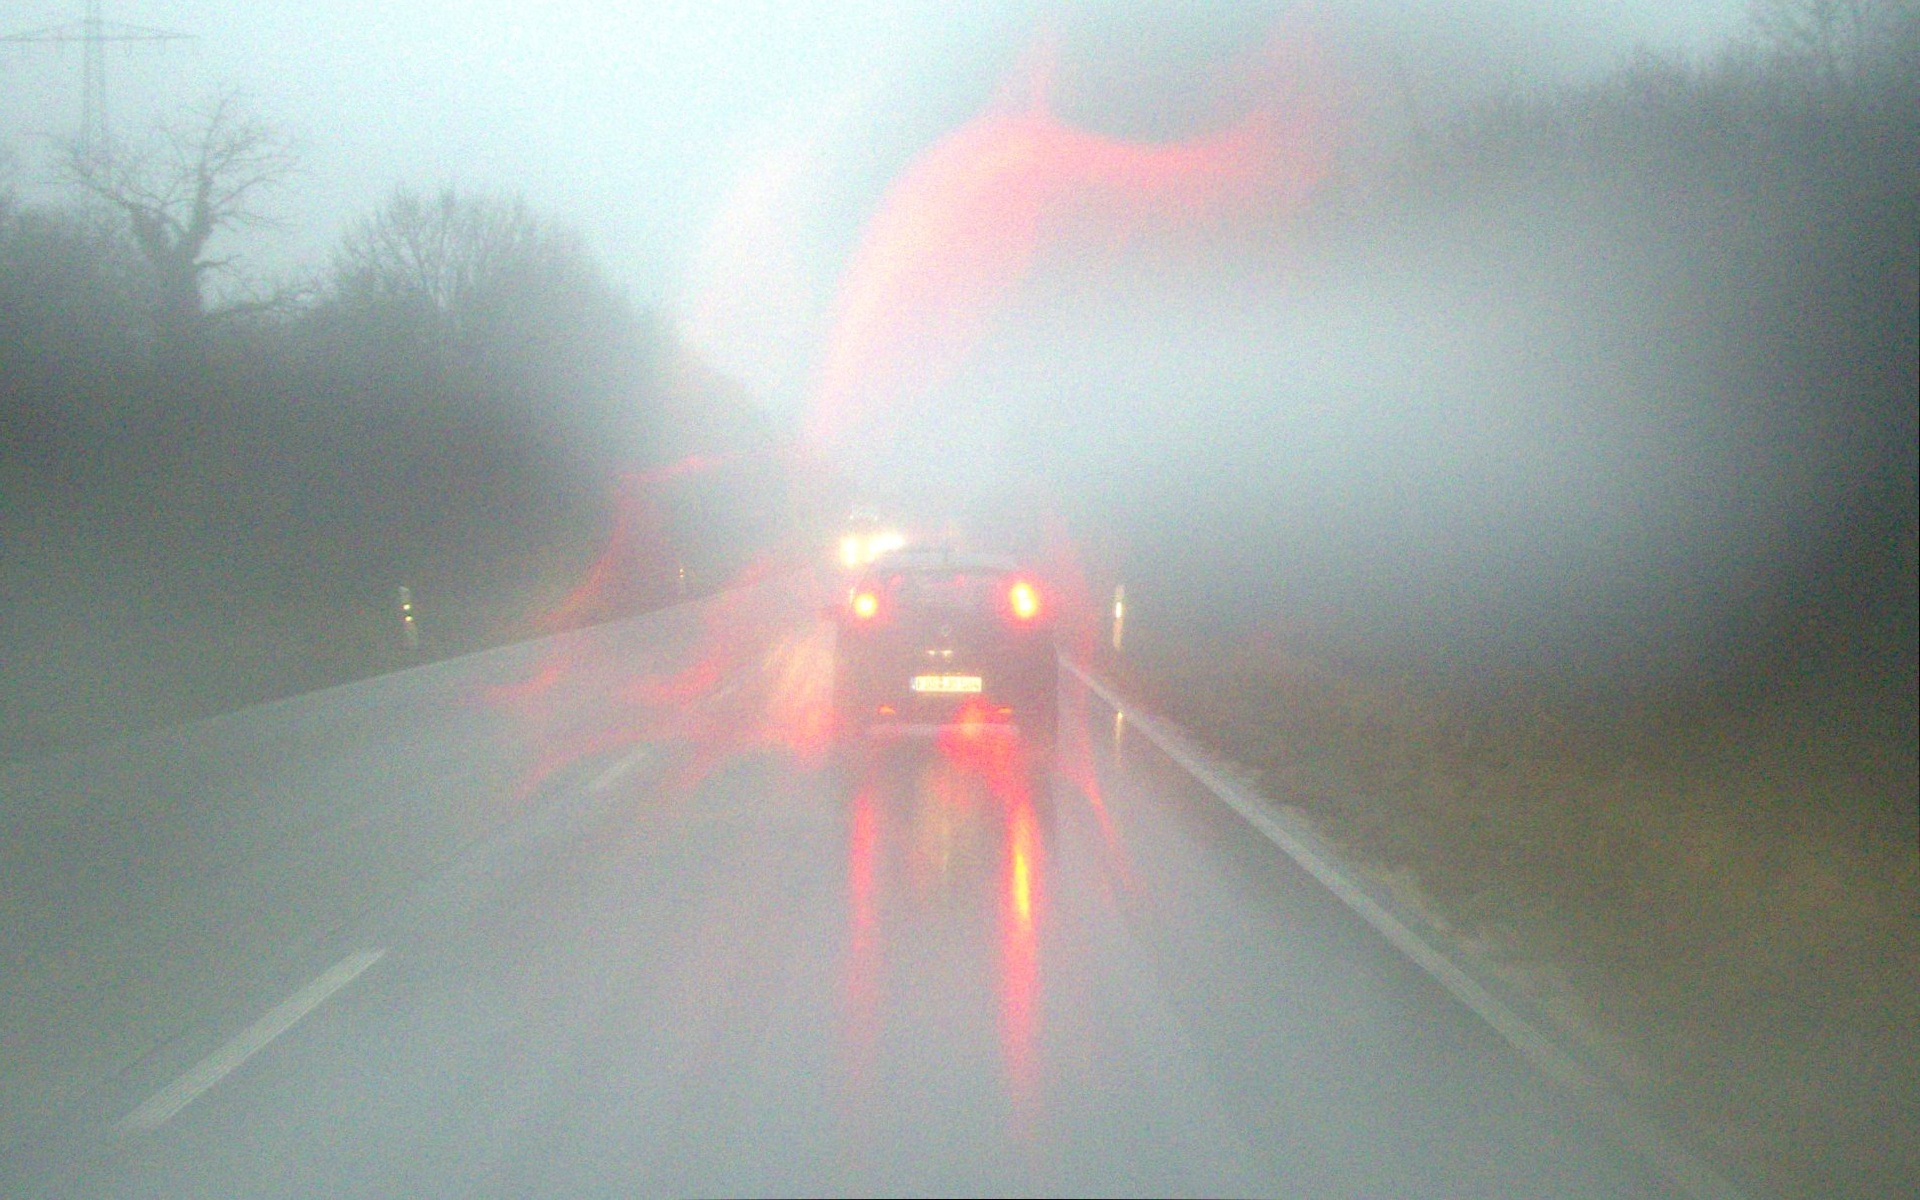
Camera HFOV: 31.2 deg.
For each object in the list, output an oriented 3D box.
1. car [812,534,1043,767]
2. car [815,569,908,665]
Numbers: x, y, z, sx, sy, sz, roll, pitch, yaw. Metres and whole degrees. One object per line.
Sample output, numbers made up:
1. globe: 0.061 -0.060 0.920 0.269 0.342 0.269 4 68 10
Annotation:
1. car: -0.252 0.338 26.491 1.648 1.666 3.514 0 1 -1
2. car: -1.885 0.303 66.771 1.733 1.773 4.000 0 1 -1
